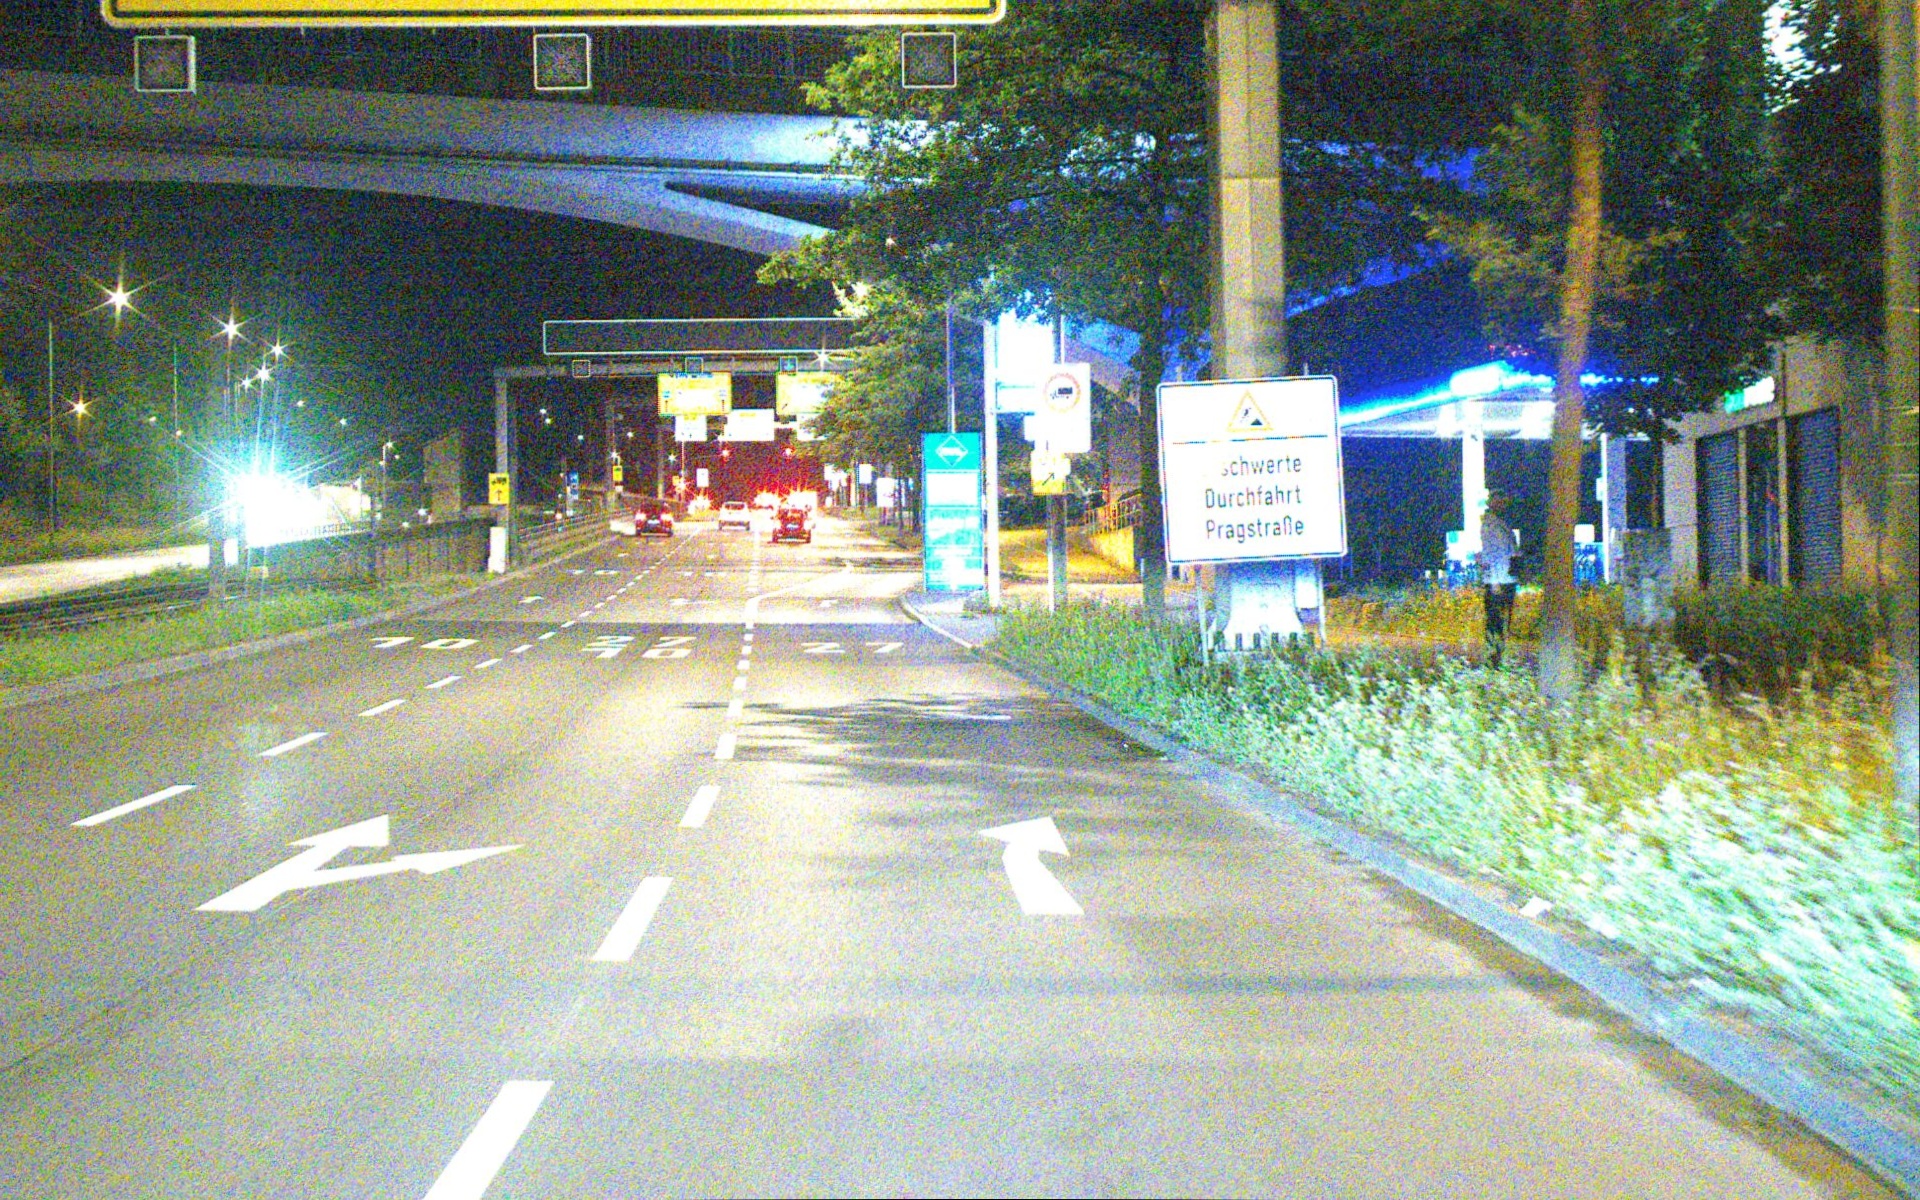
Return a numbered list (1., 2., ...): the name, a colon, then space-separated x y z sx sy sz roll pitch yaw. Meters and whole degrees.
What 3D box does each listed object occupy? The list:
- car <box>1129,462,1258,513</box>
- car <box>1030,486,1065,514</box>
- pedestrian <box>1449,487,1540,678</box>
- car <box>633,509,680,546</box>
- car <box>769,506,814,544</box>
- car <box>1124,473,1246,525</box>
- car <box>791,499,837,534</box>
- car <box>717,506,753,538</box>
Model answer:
1. car: 7.849 -3.788 115.703 4.119 1.517 1.822 -2 0 -1
2. car: 5.106 -5.802 200.098 1.893 1.506 3.636 1 0 4
3. pedestrian: 5.472 -0.185 35.248 0.805 1.906 0.793 -3 1 7
4. car: -14.759 -3.503 167.355 1.968 1.705 4.000 1 0 -1
5. car: -7.817 -3.479 159.742 1.968 1.705 4.000 1 0 -1
6. car: 7.720 -3.455 118.039 3.987 1.566 1.738 -2 0 -1
7. car: -8.767 -4.999 206.846 2.651 2.007 5.299 1 0 -1
8. car: -12.702 -4.413 194.220 1.782 1.705 4.000 1 0 -1
